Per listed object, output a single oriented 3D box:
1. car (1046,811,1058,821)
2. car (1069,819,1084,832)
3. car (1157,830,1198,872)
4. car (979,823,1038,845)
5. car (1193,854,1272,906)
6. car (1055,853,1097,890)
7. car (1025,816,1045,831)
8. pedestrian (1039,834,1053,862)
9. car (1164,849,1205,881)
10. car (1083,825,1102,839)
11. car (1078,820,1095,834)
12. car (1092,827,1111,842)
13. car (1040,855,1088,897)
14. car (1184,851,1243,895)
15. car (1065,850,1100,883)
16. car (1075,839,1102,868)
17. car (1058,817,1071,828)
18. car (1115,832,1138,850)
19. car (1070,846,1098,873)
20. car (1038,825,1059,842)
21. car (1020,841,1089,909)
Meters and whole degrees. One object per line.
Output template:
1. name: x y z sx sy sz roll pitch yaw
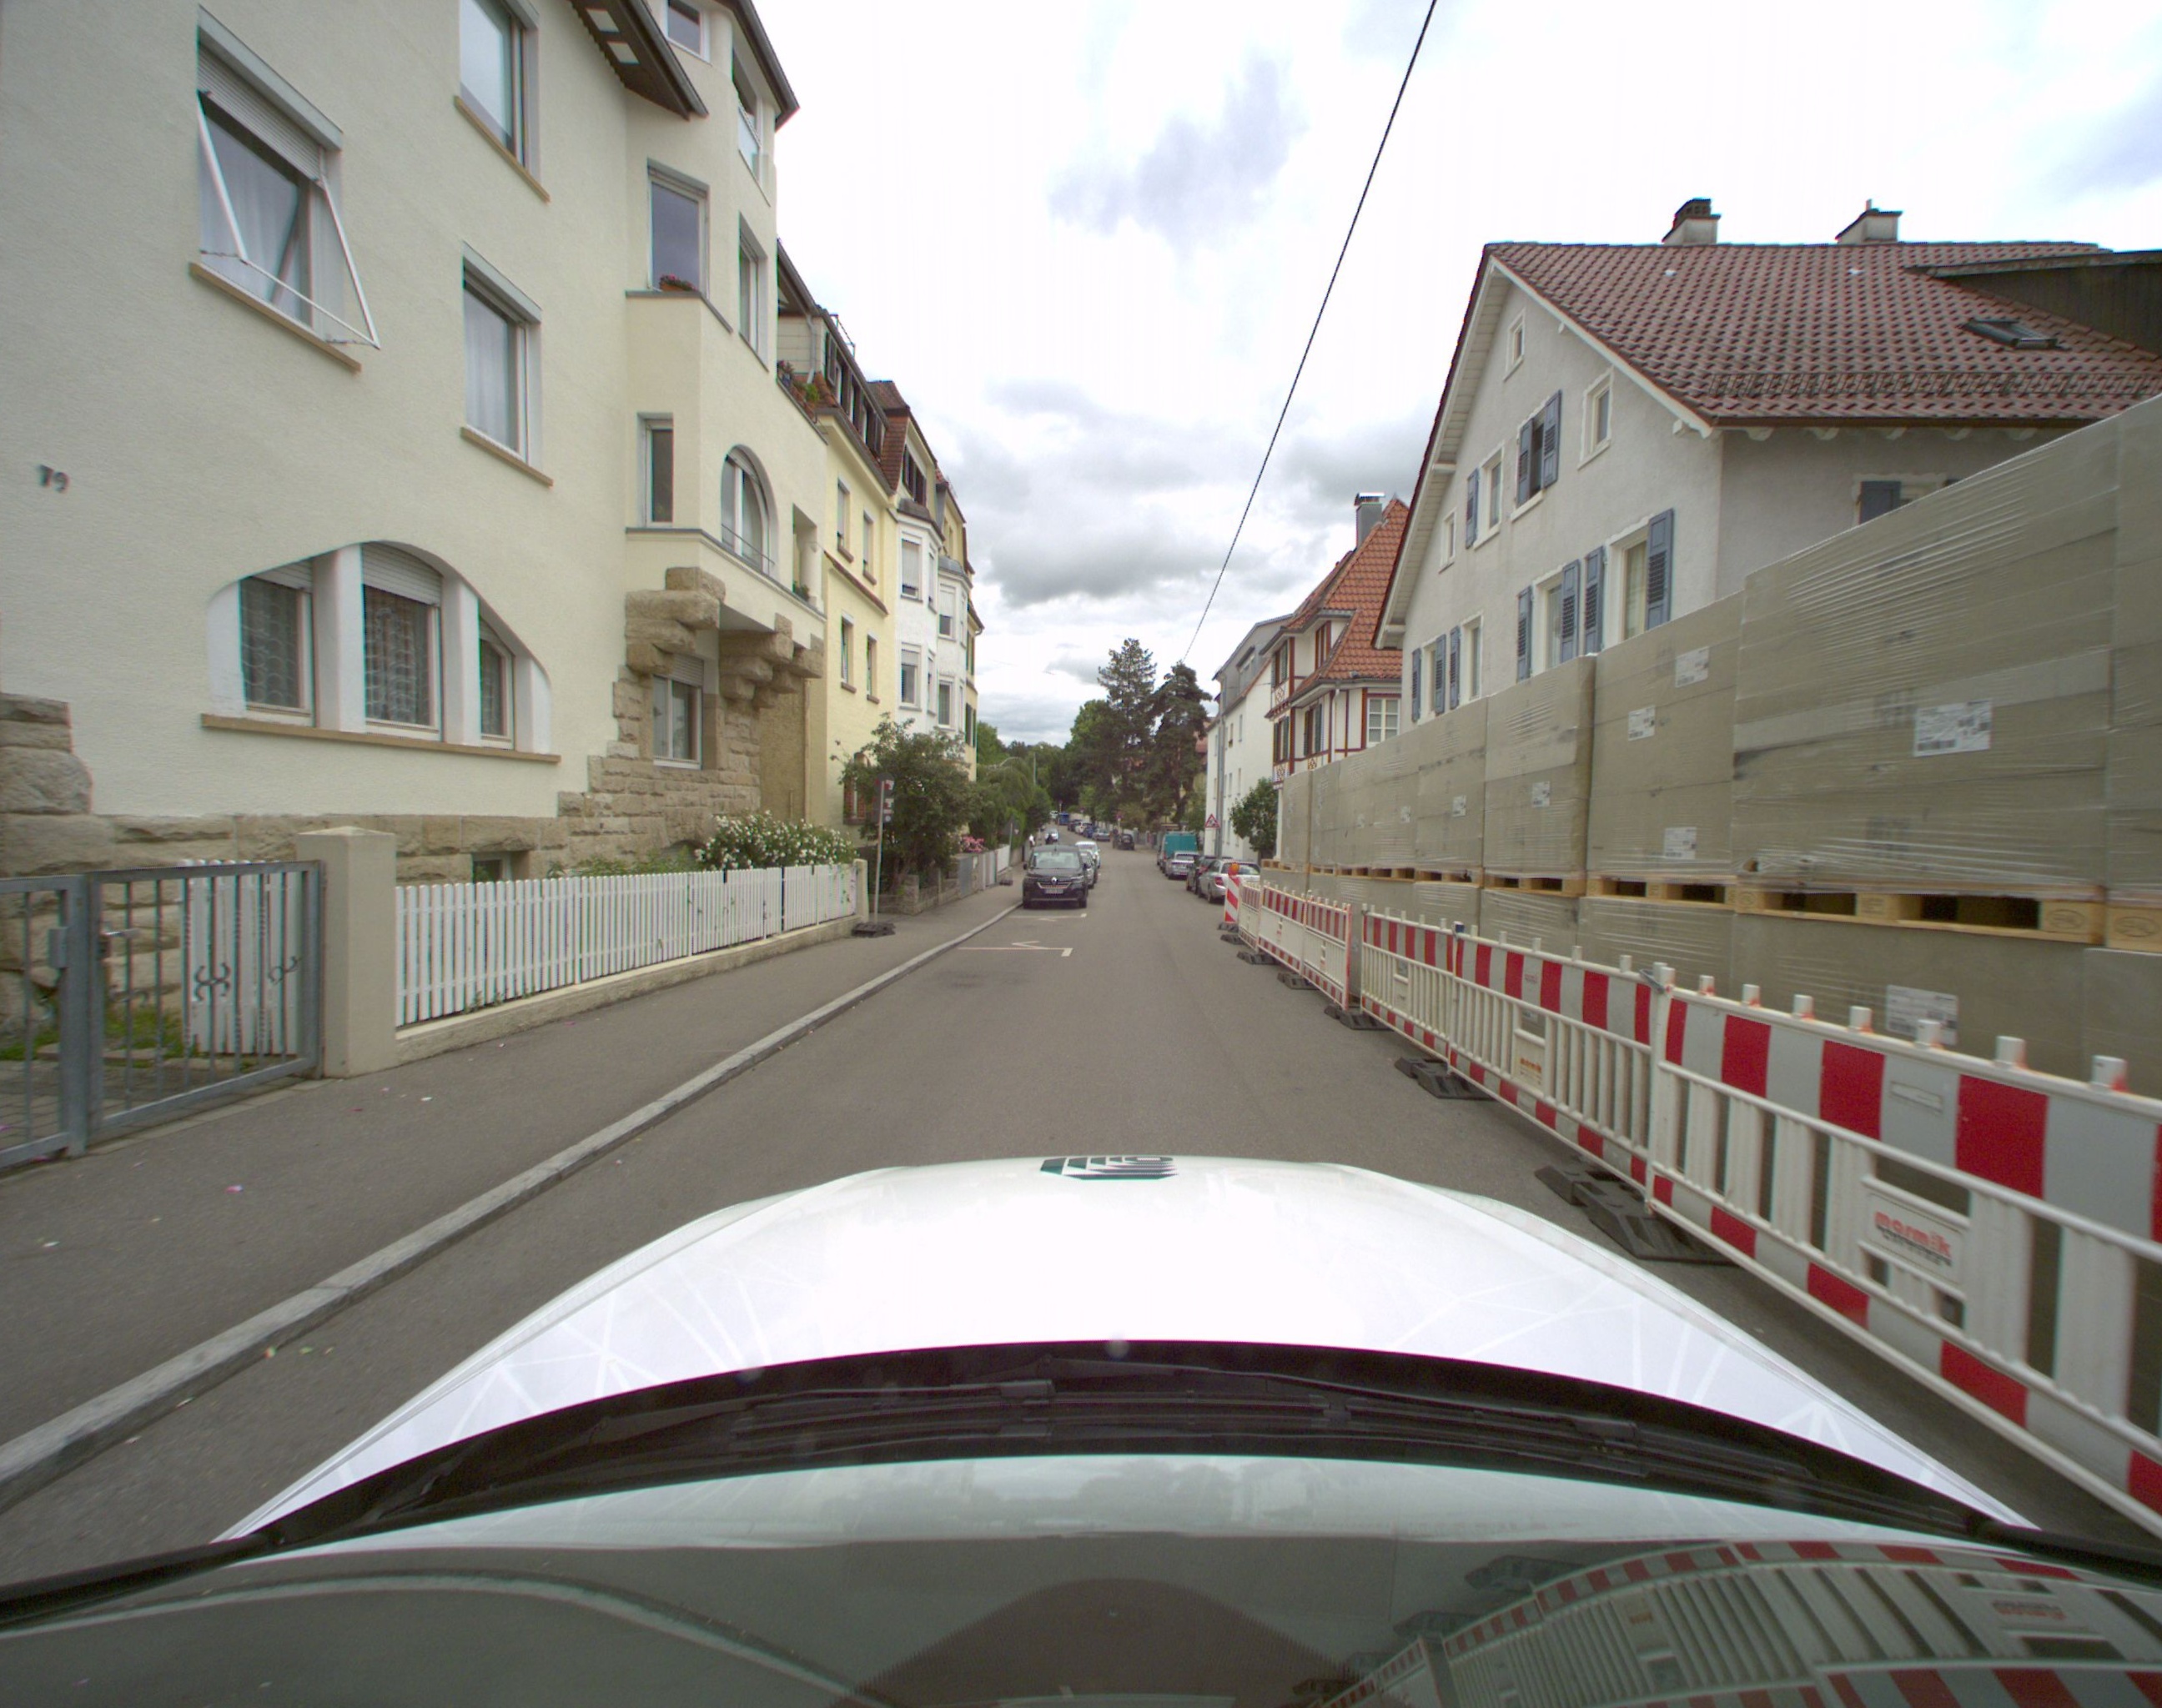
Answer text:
1. car: -4.781 -6.176 132.449 1.633 1.537 3.523 2 4 -7
2. car: -0.617 -3.801 107.729 1.633 1.537 3.523 2 4 -7
3. car: 5.755 -0.238 48.978 1.973 2.362 4.278 1 2 1
4. car: -6.149 -1.708 69.621 1.975 1.639 4.841 3 1 44
5. car: 4.908 0.794 26.935 1.812 1.442 4.452 2 1 1
6. car: -0.156 0.678 34.235 1.636 1.416 3.985 0 1 1
7. car: -6.083 -3.998 107.364 1.905 1.876 4.577 -1 3 -12
8. pedestrian: -2.444 -0.401 56.856 0.787 1.932 0.920 2 1 4
9. car: 5.349 0.527 42.498 1.719 1.448 3.882 1 2 1
10. car: 1.335 -2.605 95.788 1.633 1.483 3.523 2 4 -7
11. car: 0.644 -3.395 101.906 1.633 1.537 3.523 2 4 -7
12. car: 2.269 -2.222 91.188 1.633 1.483 3.523 2 4 -7
13. car: -0.563 0.748 29.693 1.637 1.387 3.859 0 1 0
14. car: 5.035 0.687 31.421 1.683 1.519 3.881 2 1 1
15. car: 0.104 0.551 38.977 1.590 1.478 3.992 0 1 1
16. car: 0.488 -0.039 52.856 1.666 1.656 3.865 0 3 1
17. car: -2.514 -4.749 122.207 1.633 1.537 3.523 2 4 -7
18. car: 4.377 -1.268 79.185 1.632 1.483 3.525 2 4 -6
19. car: 0.204 0.307 48.730 1.590 1.412 3.664 0 2 1
20. car: -3.577 -2.254 88.685 1.673 1.656 3.850 -1 3 -11
21. car: -0.733 0.574 24.007 1.839 1.815 4.542 0 0 -1
